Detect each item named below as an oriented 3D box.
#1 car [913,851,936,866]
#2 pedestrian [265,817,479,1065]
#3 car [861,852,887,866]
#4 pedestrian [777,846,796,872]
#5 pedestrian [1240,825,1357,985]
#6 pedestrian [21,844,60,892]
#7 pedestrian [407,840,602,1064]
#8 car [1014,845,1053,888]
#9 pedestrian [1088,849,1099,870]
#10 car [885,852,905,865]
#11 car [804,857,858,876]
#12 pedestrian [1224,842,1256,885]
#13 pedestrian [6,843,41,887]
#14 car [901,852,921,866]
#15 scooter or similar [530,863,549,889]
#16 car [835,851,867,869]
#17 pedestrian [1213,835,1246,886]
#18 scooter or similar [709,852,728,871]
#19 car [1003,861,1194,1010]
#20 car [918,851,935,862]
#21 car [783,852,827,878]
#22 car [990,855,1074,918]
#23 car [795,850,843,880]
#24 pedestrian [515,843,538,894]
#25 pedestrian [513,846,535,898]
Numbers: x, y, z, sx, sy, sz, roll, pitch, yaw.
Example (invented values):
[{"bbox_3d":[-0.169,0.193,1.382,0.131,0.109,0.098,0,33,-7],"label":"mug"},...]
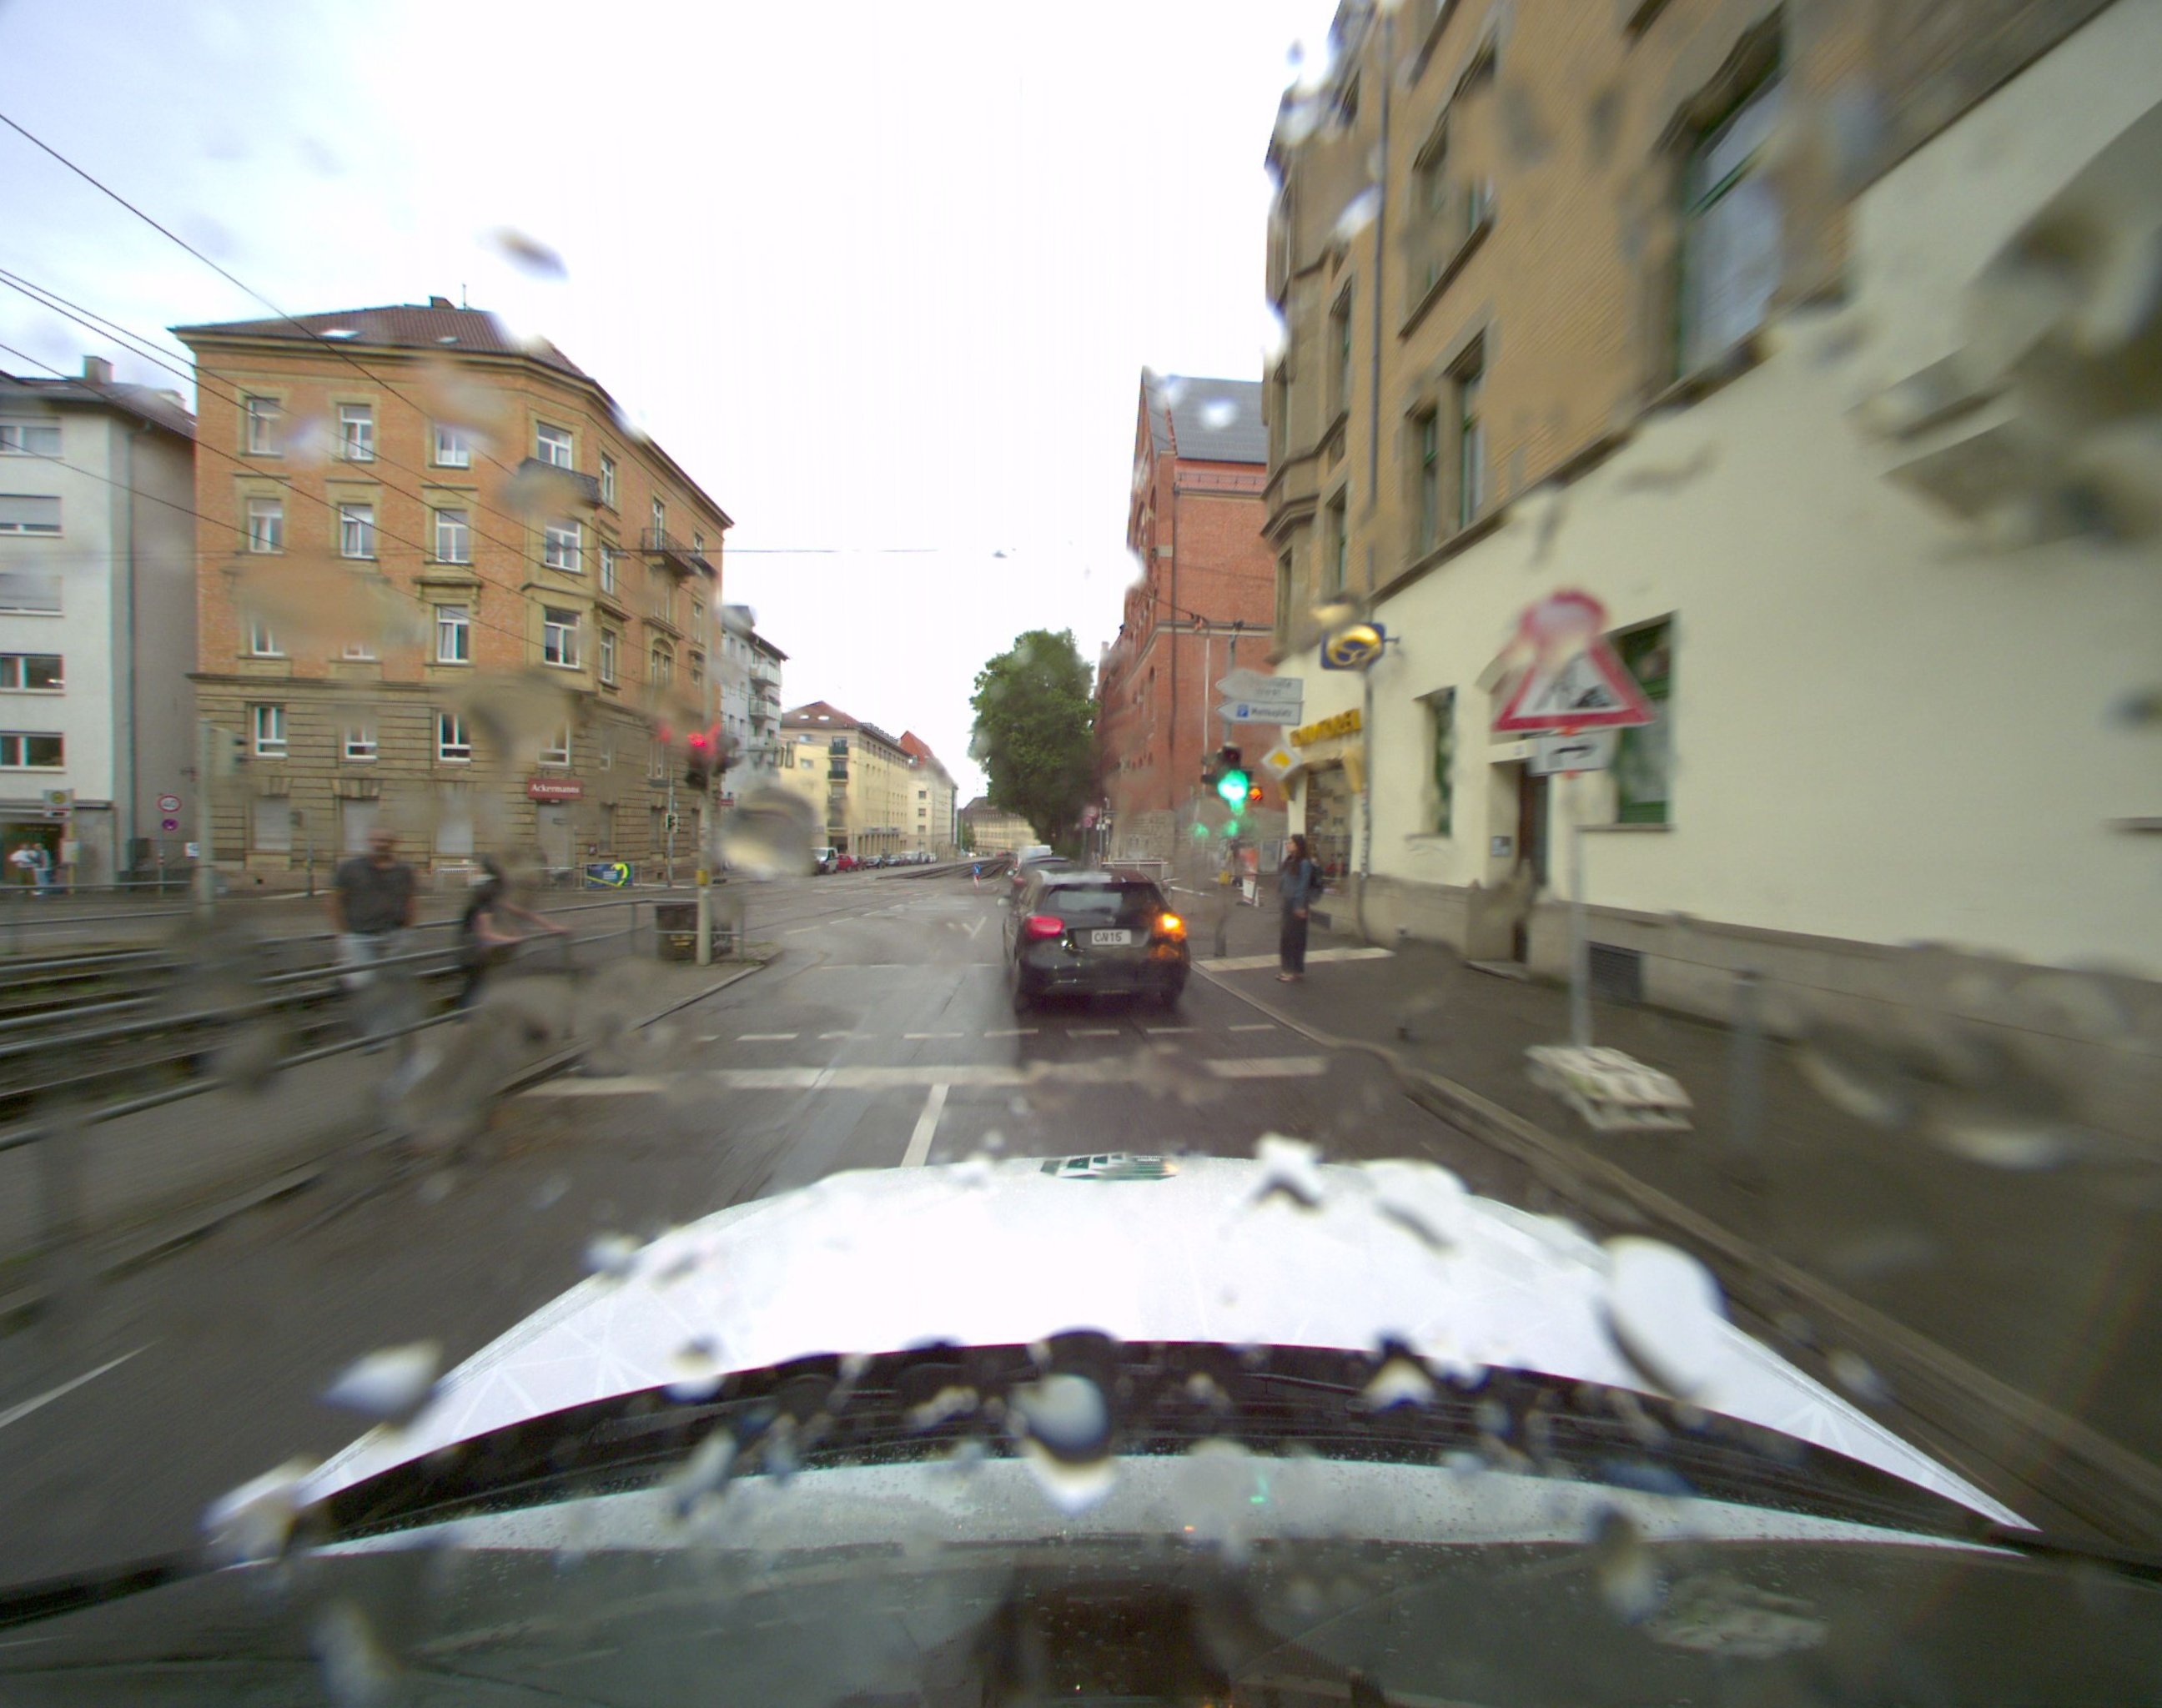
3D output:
[{"bbox_3d":[-21.391,0.583,111.324,1.987,1.905,5.458,2,0,0],"label":"car"},{"bbox_3d":[-5.540,0.635,6.450,0.824,1.798,0.999,0,-1,-6],"label":"pedestrian"},{"bbox_3d":[-20.439,0.492,80.561,1.677,1.396,4.614,0,0,-5],"label":"car"},{"bbox_3d":[-22.176,0.350,61.375,1.172,1.929,1.173,1,0,-12],"label":"pedestrian"},{"bbox_3d":[2.500,0.566,9.465,1.014,1.720,0.929,-3,0,-3],"label":"pedestrian"},{"bbox_3d":[-36.324,0.492,28.441,0.597,1.668,0.597,0,-1,6],"label":"pedestrian"},{"bbox_3d":[-4.451,0.708,6.379,0.833,1.604,0.999,0,-1,-6],"label":"pedestrian"},{"bbox_3d":[-2.381,0.589,39.774,1.738,2.014,3.896,0,0,-6],"label":"car"},{"bbox_3d":[1.020,0.472,65.946,0.821,1.678,0.859,0,-1,-2],"label":"pedestrian"},{"bbox_3d":[-21.379,0.542,93.849,1.851,1.508,4.976,0,0,-9],"label":"car"},{"bbox_3d":[-20.048,1.021,65.390,1.763,1.434,4.006,1,0,30],"label":"car"},{"bbox_3d":[6.102,0.364,31.351,0.956,1.625,1.072,-1,0,-4],"label":"pedestrian"},{"bbox_3d":[-37.205,0.380,28.649,0.529,1.537,0.498,1,0,0],"label":"pedestrian"},{"bbox_3d":[-21.944,0.625,105.406,1.863,1.717,4.454,0,0,-3],"label":"car"},{"bbox_3d":[-19.958,0.800,30.001,0.557,0.945,0.572,0,0,-34],"label":"scooter or similar"},{"bbox_3d":[-20.013,0.510,70.886,1.648,1.451,4.072,0,0,-1],"label":"car"},{"bbox_3d":[5.608,0.242,30.826,0.956,1.887,1.072,-1,0,-4],"label":"pedestrian"},{"bbox_3d":[-24.434,0.526,54.907,1.091,1.209,0.315,-3,0,-15],"label":"scooter or similar"},{"bbox_3d":[0.014,0.799,9.717,1.791,1.375,3.993,1,-1,-5],"label":"car"},{"bbox_3d":[-22.915,0.313,120.816,1.810,1.499,4.576,2,0,-4],"label":"car"},{"bbox_3d":[-18.455,0.734,54.588,1.730,1.651,4.357,1,0,-4],"label":"car"},{"bbox_3d":[-1.391,0.783,21.426,1.931,1.453,4.307,1,0,-7],"label":"car"},{"bbox_3d":[-19.421,0.776,60.682,2.066,2.009,5.294,3,0,-4],"label":"car"},{"bbox_3d":[-19.781,0.498,29.069,0.630,1.766,0.633,-2,4,-34],"label":"pedestrian"},{"bbox_3d":[-19.947,0.637,29.142,0.630,1.840,0.633,0,0,-37],"label":"pedestrian"}]
